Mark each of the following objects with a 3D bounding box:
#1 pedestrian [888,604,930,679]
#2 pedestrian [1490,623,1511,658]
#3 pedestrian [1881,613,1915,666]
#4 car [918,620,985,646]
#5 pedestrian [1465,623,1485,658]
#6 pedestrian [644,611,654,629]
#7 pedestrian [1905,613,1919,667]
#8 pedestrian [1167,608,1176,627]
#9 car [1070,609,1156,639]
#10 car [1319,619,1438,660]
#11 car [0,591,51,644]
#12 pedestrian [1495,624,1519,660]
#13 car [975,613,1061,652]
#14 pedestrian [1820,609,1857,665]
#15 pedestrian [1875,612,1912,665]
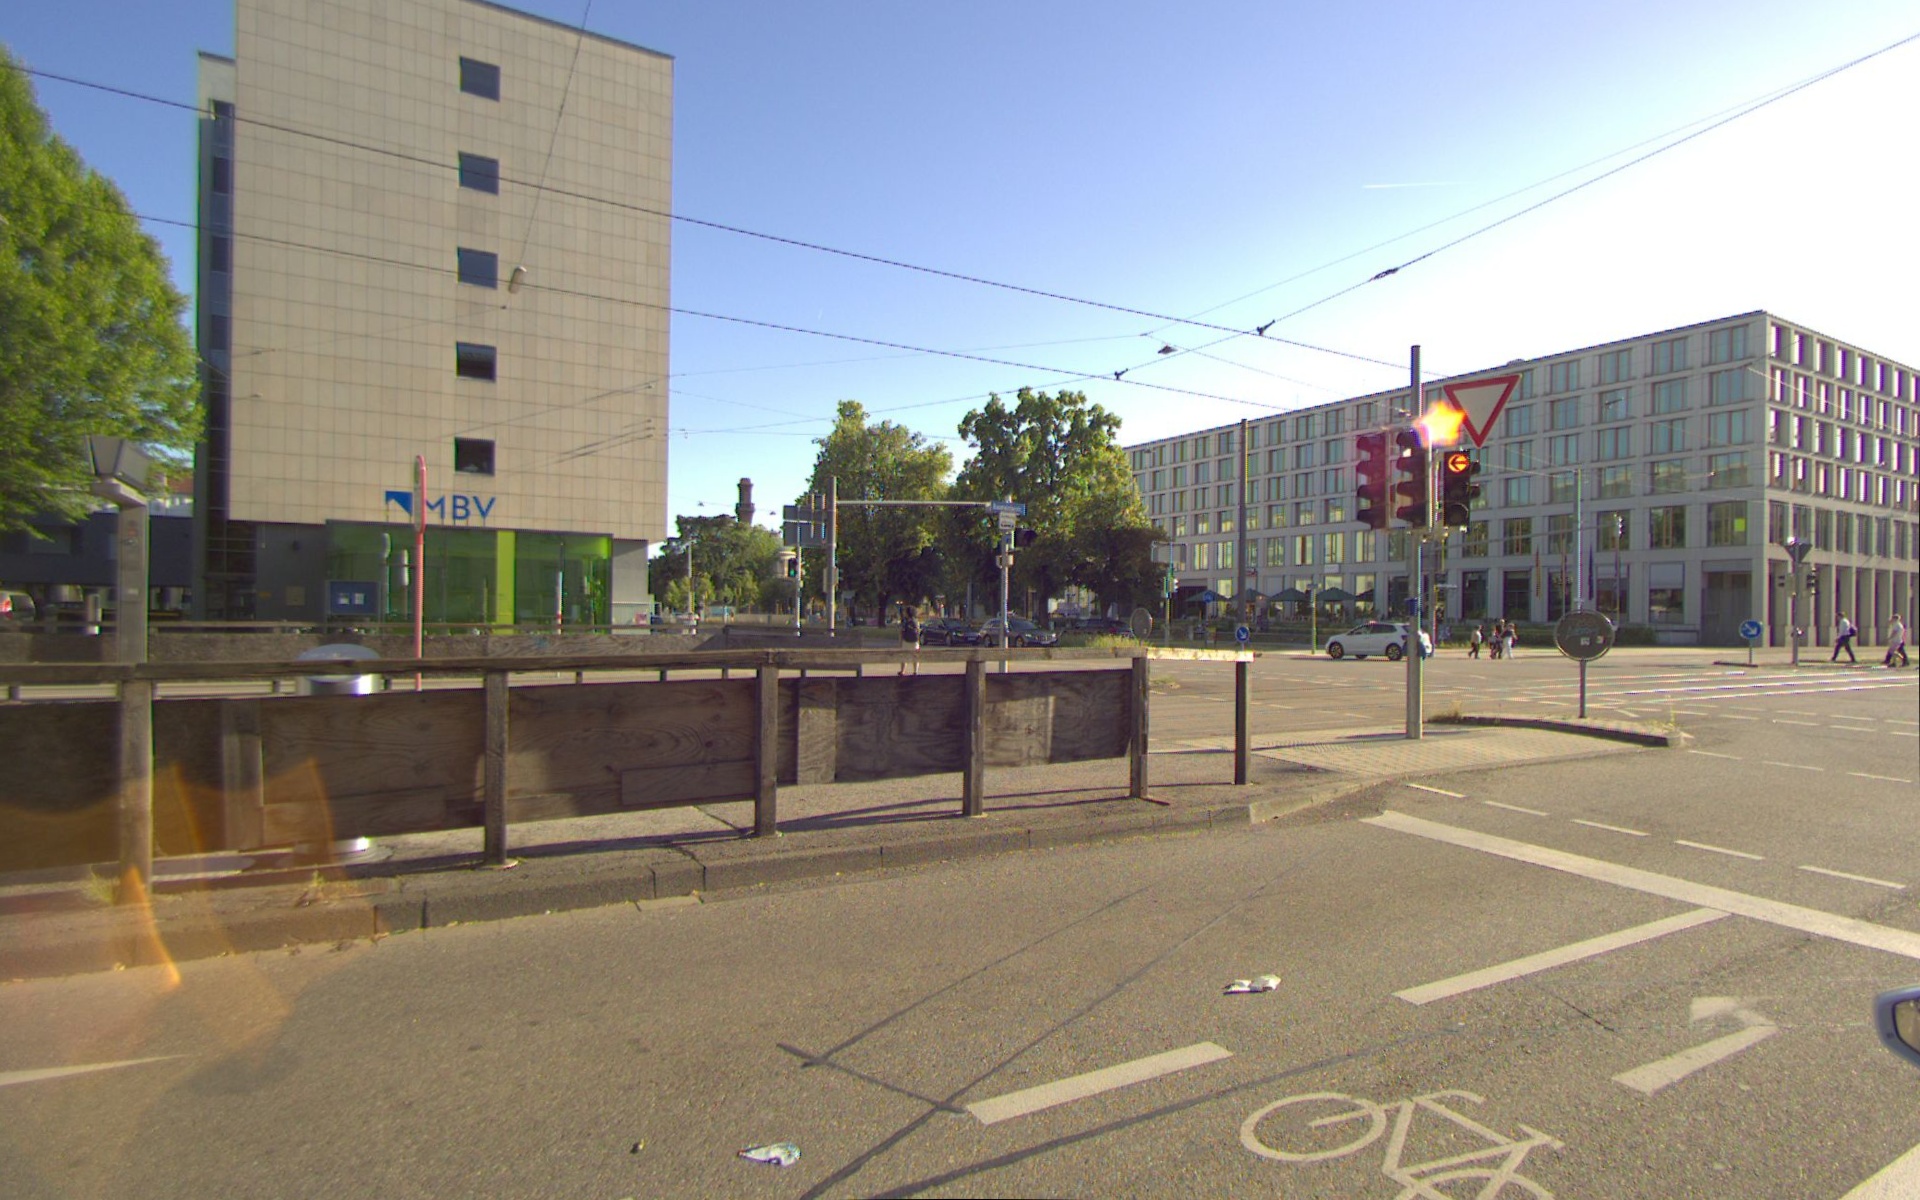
[{"bbox_3d":[-1.222,0.979,23.961,0.814,1.739,0.757,1,-1,-19],"label":"pedestrian"},{"bbox_3d":[25.601,1.914,47.578,0.615,1.666,0.690,1,-1,-34],"label":"pedestrian"},{"bbox_3d":[33.305,1.395,35.655,0.525,1.827,0.737,1,-1,-24],"label":"pedestrian"},{"bbox_3d":[-0.490,1.736,53.372,1.755,1.311,4.209,1,-1,-30],"label":"car"},{"bbox_3d":[24.581,1.921,47.957,0.609,1.666,0.696,1,-1,-4],"label":"pedestrian"},{"bbox_3d":[-31.807,2.021,102.826,0.818,1.829,0.754,1,-1,-31],"label":"pedestrian"},{"bbox_3d":[32.588,1.347,33.865,0.654,1.827,0.868,1,-1,-24],"label":"pedestrian"},{"bbox_3d":[19.260,1.608,91.512,0.556,1.691,0.537,2,0,-33],"label":"pedestrian"},{"bbox_3d":[8.181,1.281,54.223,1.978,1.433,4.710,4,-2,-31],"label":"car"},{"bbox_3d":[16.013,1.493,38.629,1.614,1.452,4.020,3,-2,-32],"label":"car"},{"bbox_3d":[-27.708,0.447,27.798,3.371,1.431,1.562,2,0,-20],"label":"car"},{"bbox_3d":[25.301,1.928,46.458,0.615,1.666,0.787,1,-1,-34],"label":"pedestrian"},{"bbox_3d":[2.708,1.522,47.734,1.832,1.602,4.490,1,1,-32],"label":"car"},{"bbox_3d":[31.131,1.298,35.607,0.628,1.943,0.800,1,-1,-24],"label":"pedestrian"},{"bbox_3d":[32.507,1.339,34.971,0.706,1.827,0.737,1,-1,-24],"label":"pedestrian"}]
